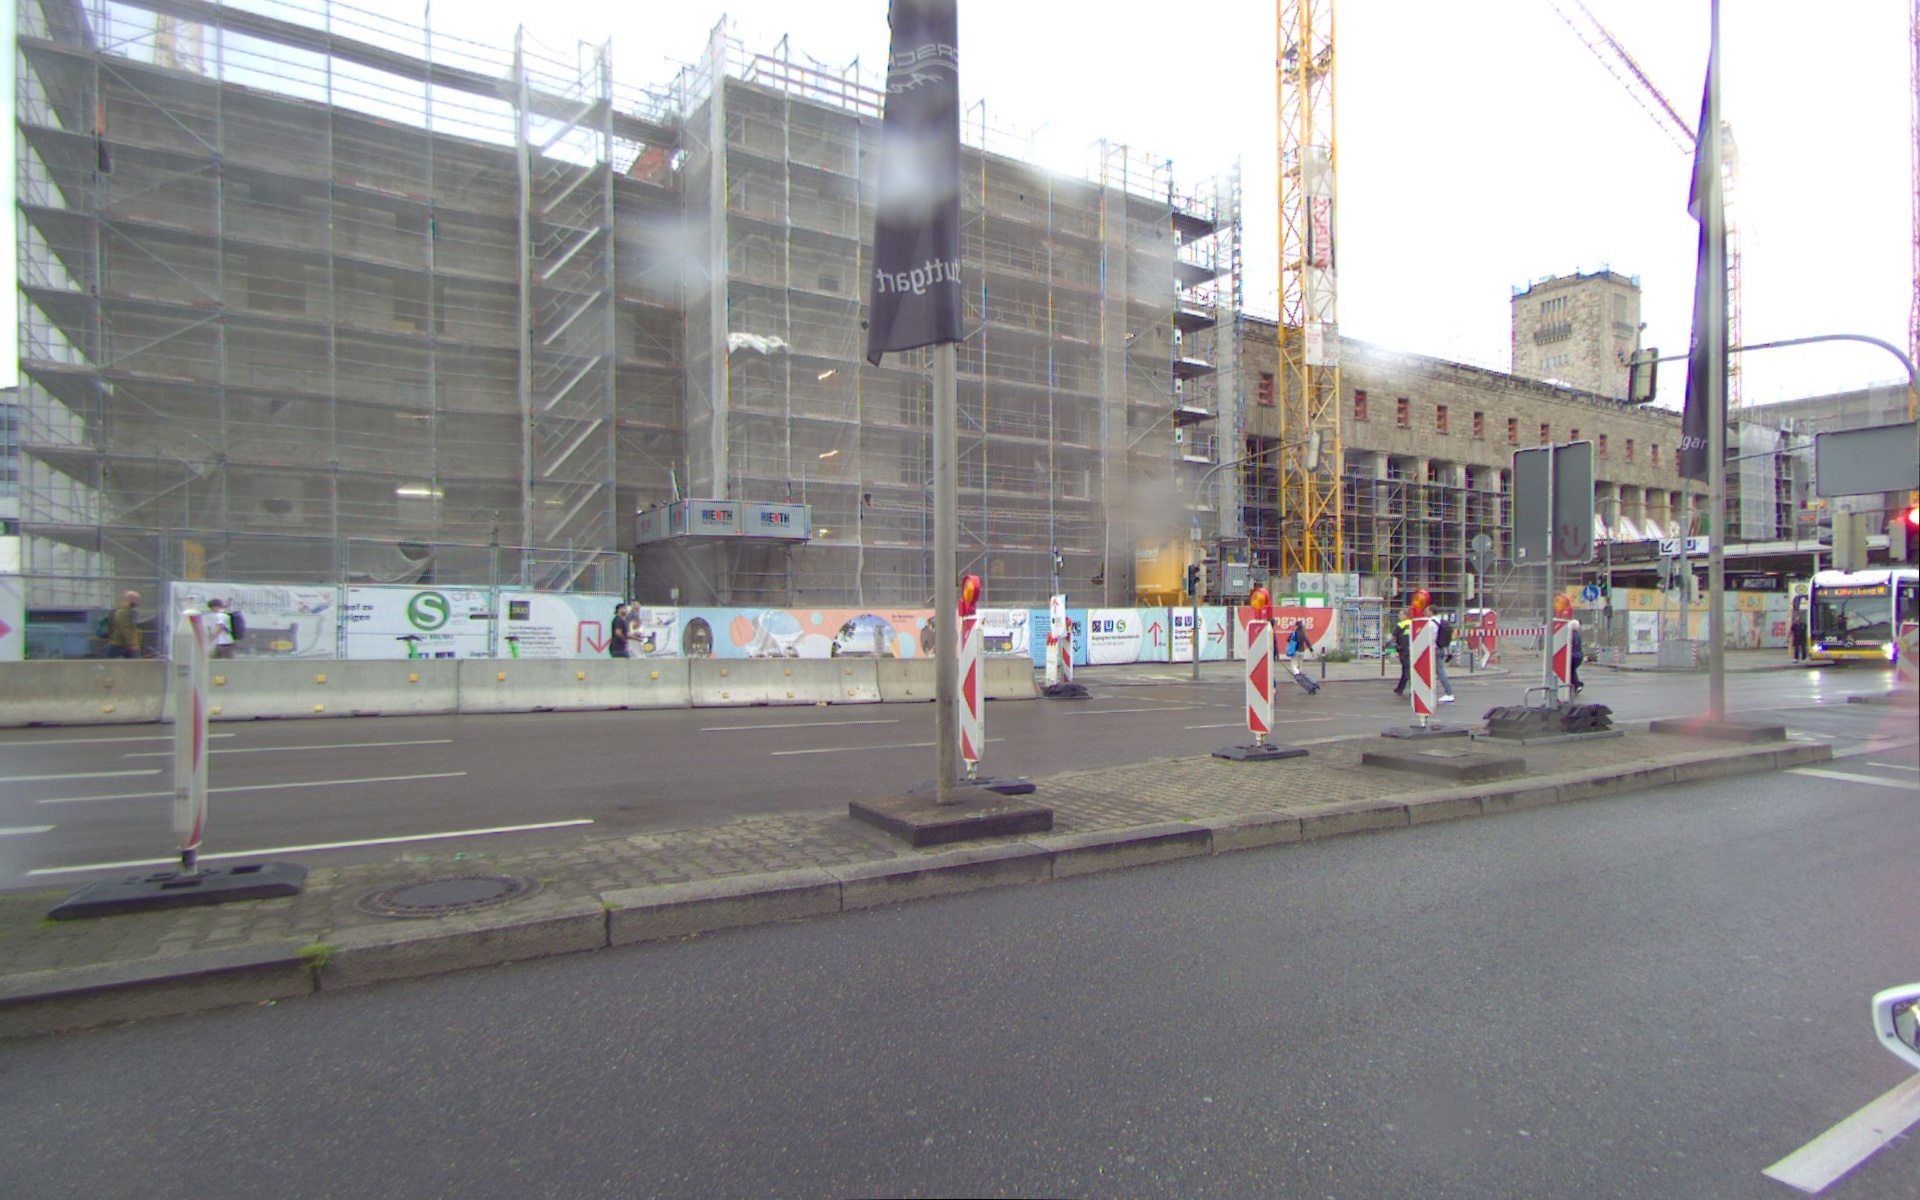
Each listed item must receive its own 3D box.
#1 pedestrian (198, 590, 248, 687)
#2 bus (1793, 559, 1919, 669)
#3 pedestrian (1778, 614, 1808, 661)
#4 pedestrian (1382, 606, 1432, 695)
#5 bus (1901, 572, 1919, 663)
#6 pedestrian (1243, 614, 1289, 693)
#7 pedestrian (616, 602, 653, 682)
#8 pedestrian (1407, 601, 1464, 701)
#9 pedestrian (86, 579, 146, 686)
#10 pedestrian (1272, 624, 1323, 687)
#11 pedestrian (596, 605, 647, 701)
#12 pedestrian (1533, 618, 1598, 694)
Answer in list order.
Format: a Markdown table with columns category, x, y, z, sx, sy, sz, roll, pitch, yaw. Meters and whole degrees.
| category | x | y | z | sx | sy | sz | roll | pitch | yaw |
| --- | --- | --- | --- | --- | --- | --- | --- | --- | --- |
| pedestrian | -14.416 | 0.752 | 19.666 | 0.709 | 1.860 | 0.478 | 1 | 0 | -30 |
| bus | 34.795 | 0.585 | 37.277 | 10.119 | 3.650 | 2.655 | 2 | 0 | -30 |
| pedestrian | 31.171 | 1.398 | 37.600 | 0.637 | 1.703 | 0.656 | 1 | 0 | -30 |
| pedestrian | 9.572 | 1.065 | 21.529 | 0.810 | 1.860 | 0.575 | 1 | 0 | -30 |
| bus | 43.509 | 0.842 | 42.442 | 10.092 | 3.650 | 2.655 | 2 | 0 | -30 |
| pedestrian | 6.918 | 1.205 | 22.704 | 0.613 | 1.740 | 0.794 | 1 | -2 | -33 |
| pedestrian | -7.722 | 0.992 | 23.808 | 0.709 | 1.860 | 0.478 | 1 | 0 | -30 |
| pedestrian | 9.398 | 0.987 | 19.871 | 0.614 | 1.915 | 0.793 | 1 | 0 | -38 |
| pedestrian | -14.952 | 0.565 | 17.810 | 0.709 | 1.860 | 0.478 | 1 | 0 | -30 |
| pedestrian | 8.933 | 1.452 | 26.597 | 0.890 | 1.584 | 0.909 | 1 | 0 | -33 |
| pedestrian | -6.689 | 1.033 | 19.844 | 0.810 | 1.860 | 0.575 | 1 | 0 | -30 |
| pedestrian | 13.073 | 1.199 | 21.710 | 0.774 | 1.581 | 0.872 | 1 | 0 | -15 |
